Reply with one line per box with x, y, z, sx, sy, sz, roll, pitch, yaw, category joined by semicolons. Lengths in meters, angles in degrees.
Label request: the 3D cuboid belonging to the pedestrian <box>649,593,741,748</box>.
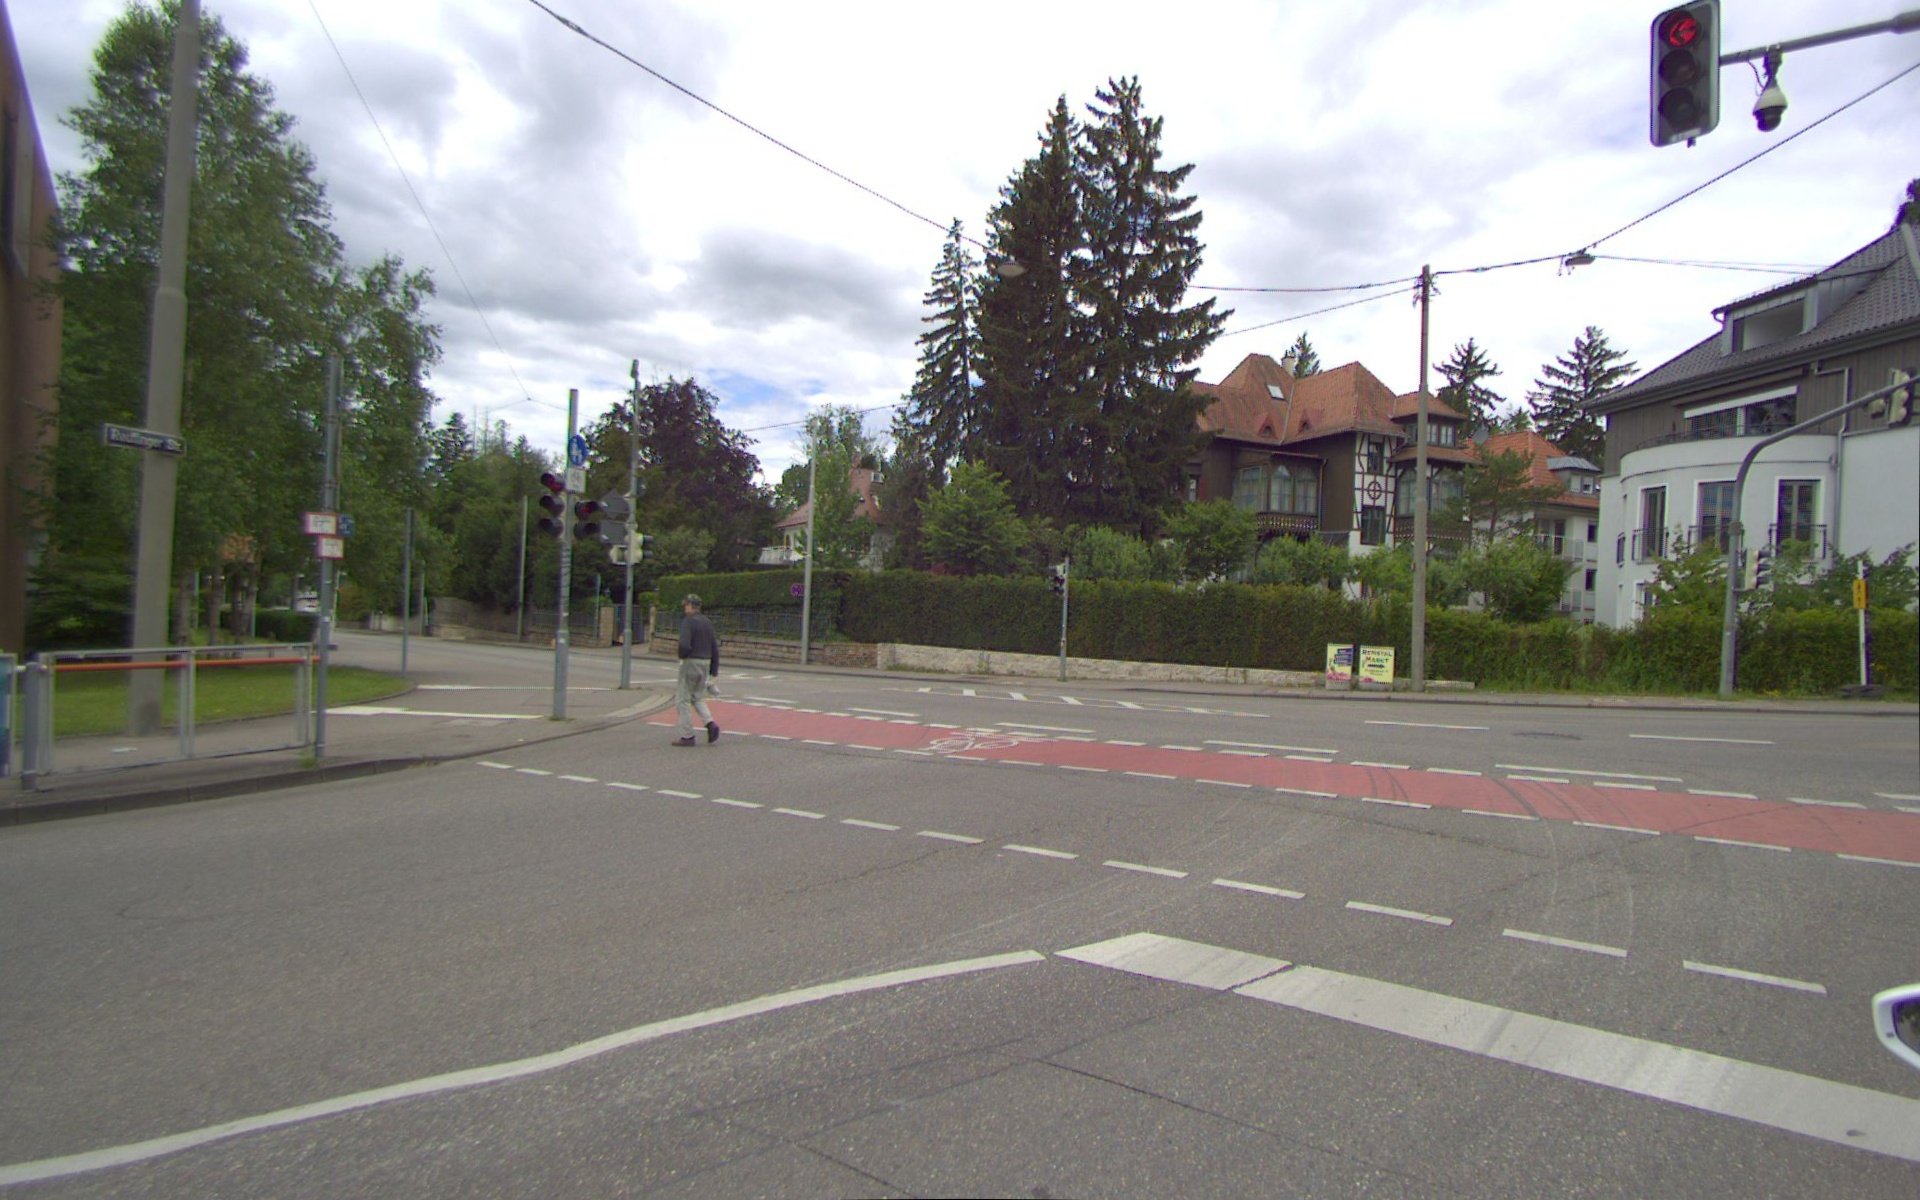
-2.938;0.756;11.162;0.726;1.655;0.683;-1;-1;22;pedestrian
